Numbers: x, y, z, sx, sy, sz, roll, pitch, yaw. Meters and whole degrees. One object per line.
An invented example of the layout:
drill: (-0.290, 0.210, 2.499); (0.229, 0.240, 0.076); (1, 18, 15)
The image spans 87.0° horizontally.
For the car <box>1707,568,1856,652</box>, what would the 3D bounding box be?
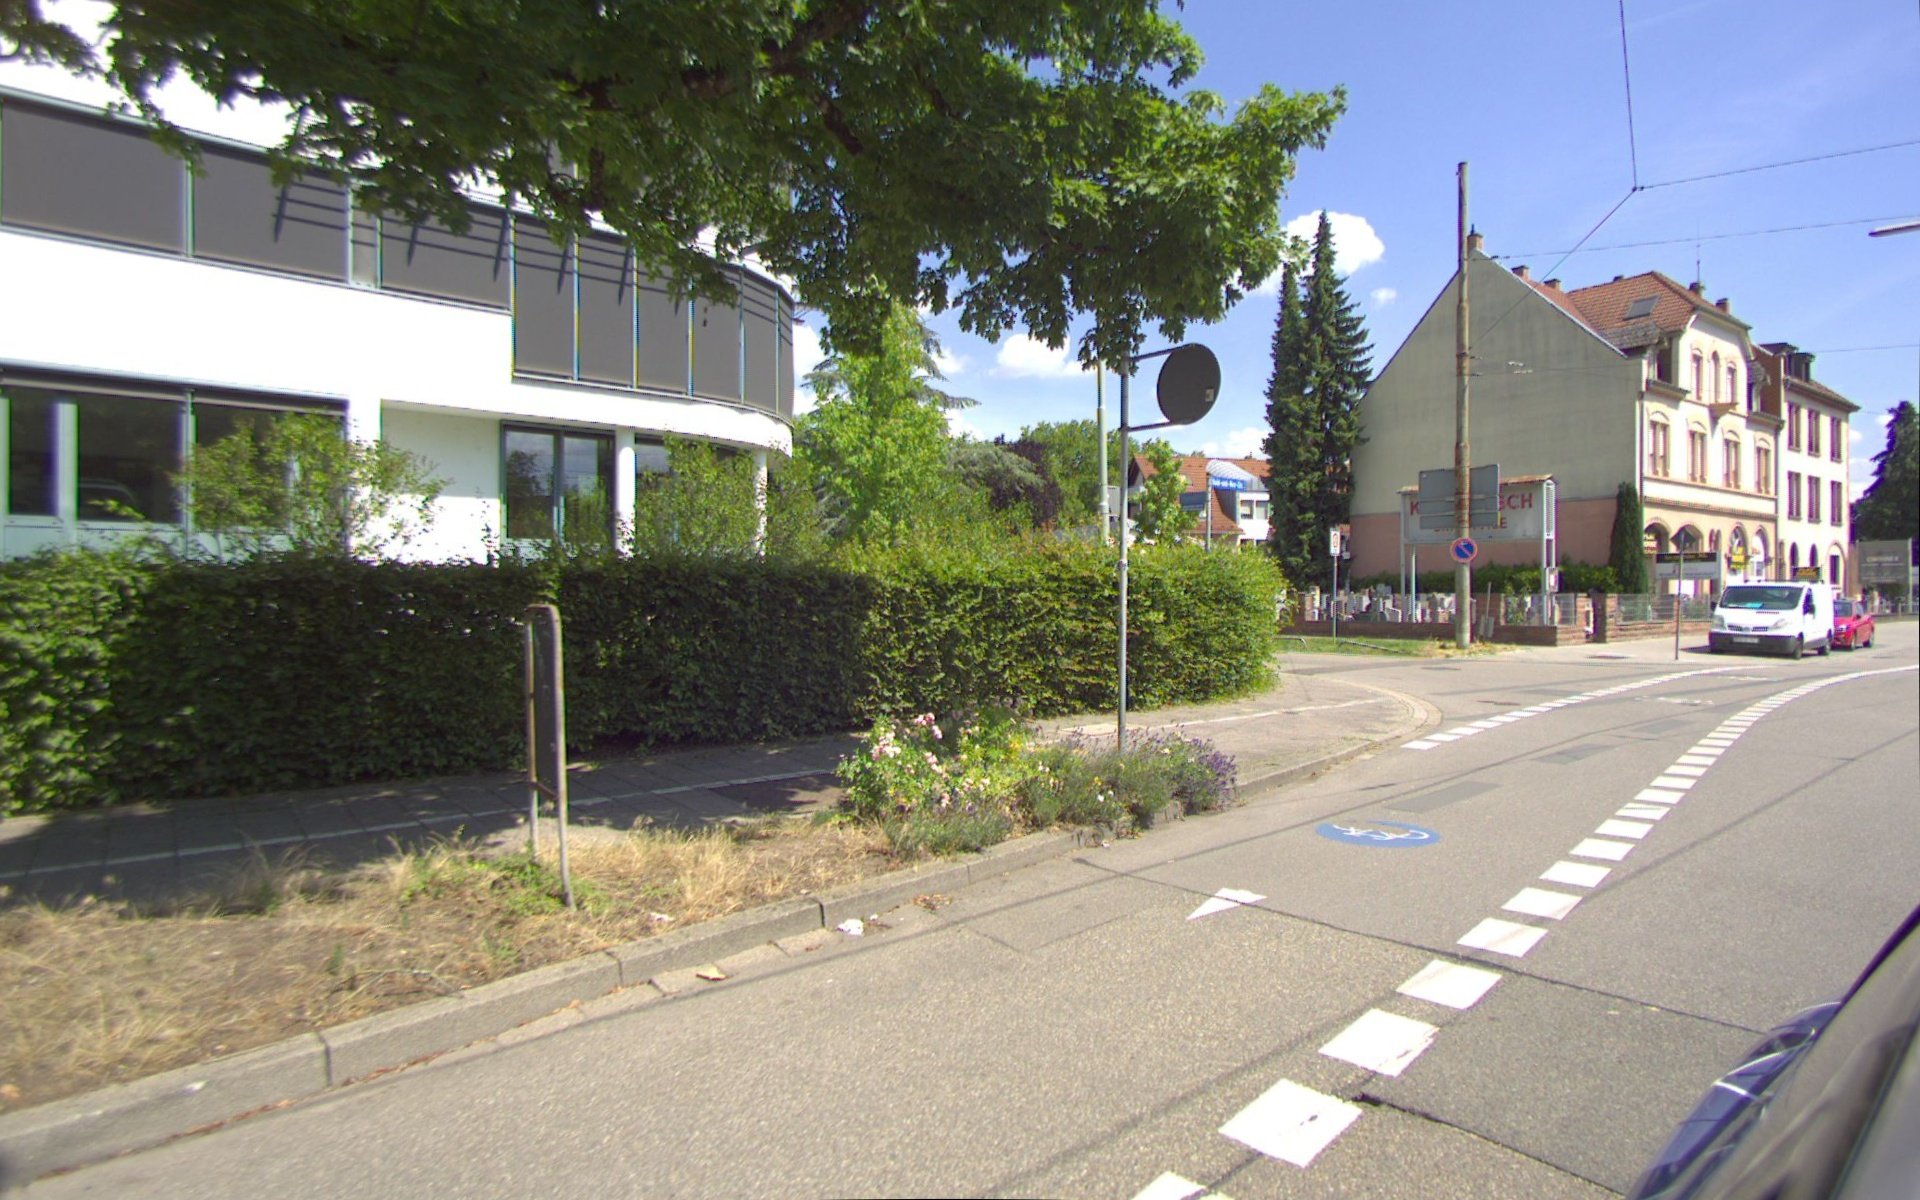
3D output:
car: (22.034, 0.209, 27.059); (5.415, 2.016, 1.998); (0, 2, -39)

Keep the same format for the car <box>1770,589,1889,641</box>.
car: (26.370, 0.428, 30.667); (3.943, 1.460, 1.998); (0, -1, -38)
